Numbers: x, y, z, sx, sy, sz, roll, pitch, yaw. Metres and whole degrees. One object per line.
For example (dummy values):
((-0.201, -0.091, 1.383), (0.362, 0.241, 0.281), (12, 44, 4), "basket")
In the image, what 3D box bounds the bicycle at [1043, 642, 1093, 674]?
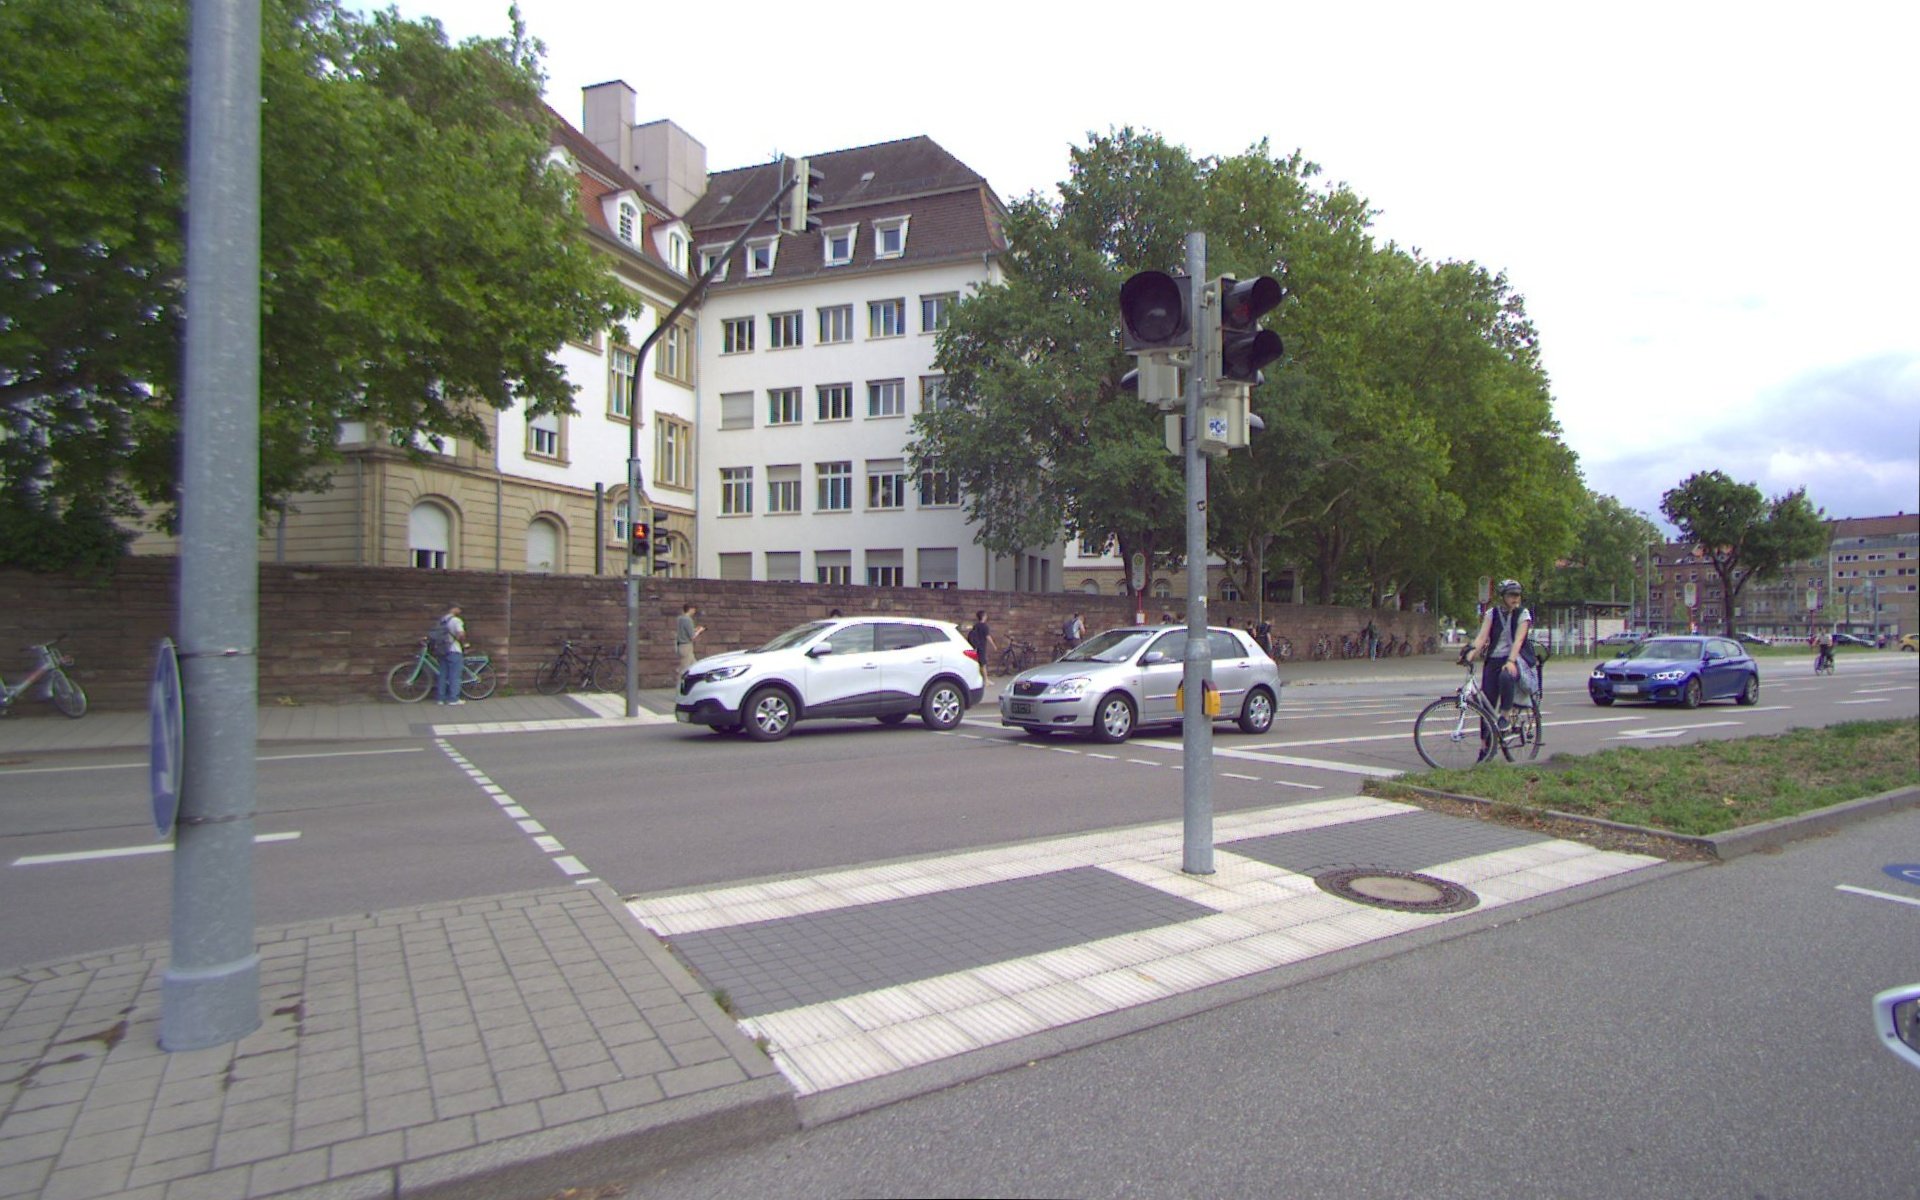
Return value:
((3.077, 1.631, 28.518), (1.608, 0.807, 0.437), (0, 2, -42), "bicycle")

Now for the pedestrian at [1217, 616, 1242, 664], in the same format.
((9.127, 1.359, 33.978), (0.578, 1.613, 0.733), (0, -2, 35), "pedestrian")

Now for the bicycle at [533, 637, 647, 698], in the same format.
((-7.094, 1.281, 19.313), (1.964, 1.072, 0.544), (1, 2, -39), "bicycle")

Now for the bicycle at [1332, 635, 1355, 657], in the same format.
((16.079, 1.906, 42.096), (0.411, 0.890, 1.548), (3, 0, 40), "bicycle")

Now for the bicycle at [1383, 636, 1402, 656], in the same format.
((20.427, 2.178, 47.420), (0.435, 0.890, 1.615), (2, 0, 36), "bicycle")

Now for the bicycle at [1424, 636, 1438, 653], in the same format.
((26.214, 2.458, 55.926), (0.474, 0.919, 1.616), (2, 0, 33), "bicycle")

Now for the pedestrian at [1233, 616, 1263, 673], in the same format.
((9.321, 1.431, 32.534), (0.747, 1.806, 0.783), (1, -2, 29), "pedestrian")

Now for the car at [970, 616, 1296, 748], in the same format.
((2.374, 0.989, 13.412), (4.243, 1.509, 1.791), (1, -1, -33), "car")

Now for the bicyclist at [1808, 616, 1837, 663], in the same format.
((33.777, 1.548, 39.330), (0.801, 1.806, 0.616), (1, -1, -27), "bicyclist")

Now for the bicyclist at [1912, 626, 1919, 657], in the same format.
((44.229, 1.895, 46.079), (0.801, 1.437, 0.578), (1, -1, -28), "bicyclist")

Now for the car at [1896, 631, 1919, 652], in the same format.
((73.382, 3.141, 75.803), (1.645, 1.537, 3.829), (1, 0, -36), "car")

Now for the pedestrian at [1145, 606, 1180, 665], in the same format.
((6.000, 1.046, 29.770), (0.747, 1.693, 0.923), (1, -2, 29), "pedestrian")

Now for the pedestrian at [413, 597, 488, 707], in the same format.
((-8.664, 0.872, 17.097), (0.732, 1.806, 0.783), (1, -2, 23), "pedestrian")

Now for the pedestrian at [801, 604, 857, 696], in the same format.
((-2.631, 1.001, 20.224), (0.747, 1.806, 0.783), (1, -2, 28), "pedestrian")

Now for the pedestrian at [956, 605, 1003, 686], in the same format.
((0.448, 1.036, 23.092), (0.747, 1.806, 0.783), (1, -2, 29), "pedestrian")

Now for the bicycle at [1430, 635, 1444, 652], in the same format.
((27.365, 2.501, 57.563), (0.474, 0.919, 1.616), (2, 0, 33), "bicycle")

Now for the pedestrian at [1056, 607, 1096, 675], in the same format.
((3.147, 1.102, 27.227), (0.747, 1.806, 0.913), (1, -2, 29), "pedestrian")

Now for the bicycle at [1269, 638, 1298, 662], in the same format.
((12.036, 1.858, 37.344), (0.435, 0.838, 1.613), (3, 0, 40), "bicycle")

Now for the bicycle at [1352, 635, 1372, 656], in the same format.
((17.504, 1.969, 43.700), (0.342, 0.890, 1.515), (3, 0, 40), "bicycle")

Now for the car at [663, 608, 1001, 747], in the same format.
((-1.722, 0.994, 14.154), (4.376, 1.674, 1.853), (1, -1, -34), "car")

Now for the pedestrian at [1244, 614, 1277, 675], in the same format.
((9.120, 1.333, 30.457), (0.747, 1.806, 0.923), (1, -2, 29), "pedestrian")

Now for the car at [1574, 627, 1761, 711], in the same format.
((14.557, 1.340, 20.614), (4.060, 1.531, 1.791), (1, -1, -33), "car")

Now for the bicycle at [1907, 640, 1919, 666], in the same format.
((44.281, 2.436, 46.104), (1.938, 1.186, 0.580), (1, -1, -26), "bicycle")

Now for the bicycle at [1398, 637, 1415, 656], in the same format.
((22.125, 2.289, 49.756), (0.474, 0.919, 1.616), (-1, -2, 35), "bicycle")

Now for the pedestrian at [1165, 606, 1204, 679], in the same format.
((5.719, 1.079, 25.571), (0.748, 1.806, 0.720), (0, -2, 34), "pedestrian")

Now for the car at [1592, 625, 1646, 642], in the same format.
((63.969, 3.244, 97.507), (1.632, 1.671, 4.123), (1, -2, -37), "car")

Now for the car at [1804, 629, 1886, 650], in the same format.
((70.255, 3.096, 79.771), (1.645, 1.495, 4.635), (1, 0, -36), "car")

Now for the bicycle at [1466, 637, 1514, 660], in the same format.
((21.906, 1.990, 41.524), (2.307, 0.931, 0.468), (1, -1, -25), "bicycle")

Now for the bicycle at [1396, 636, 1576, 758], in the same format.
((5.038, 0.881, 9.580), (1.902, 1.069, 0.571), (1, -1, -29), "bicycle")

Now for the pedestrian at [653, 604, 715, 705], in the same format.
((-5.147, 1.006, 18.740), (0.733, 1.806, 0.783), (1, -2, 25), "pedestrian")

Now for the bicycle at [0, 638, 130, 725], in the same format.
((-13.073, 1.125, 14.096), (2.145, 1.141, 0.573), (1, 2, -37), "bicycle")

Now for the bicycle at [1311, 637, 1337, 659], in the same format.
((14.589, 1.920, 40.277), (0.435, 0.838, 1.613), (3, 0, 40), "bicycle")

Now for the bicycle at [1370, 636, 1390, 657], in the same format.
((19.116, 2.096, 45.686), (0.435, 0.890, 1.615), (2, 0, 36), "bicycle")

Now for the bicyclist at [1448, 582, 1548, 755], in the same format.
((5.185, 0.641, 9.683), (0.690, 1.595, 0.570), (1, -1, -28), "bicyclist")

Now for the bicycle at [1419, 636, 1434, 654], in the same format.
((25.101, 2.415, 54.034), (0.474, 0.919, 1.616), (2, 0, 33), "bicycle")

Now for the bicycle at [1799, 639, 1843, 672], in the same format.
((33.644, 2.159, 39.244), (2.019, 1.233, 0.616), (1, -1, -28), "bicycle")

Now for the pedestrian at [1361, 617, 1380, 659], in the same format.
((16.765, 1.569, 41.015), (0.553, 1.690, 0.624), (0, -2, 41), "pedestrian")

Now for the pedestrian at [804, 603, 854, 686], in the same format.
((-2.897, 0.985, 22.308), (0.747, 1.806, 0.783), (1, -2, 26), "pedestrian")

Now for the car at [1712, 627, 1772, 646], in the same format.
((66.190, 3.078, 85.081), (1.570, 1.413, 3.734), (1, 0, -38), "car")
